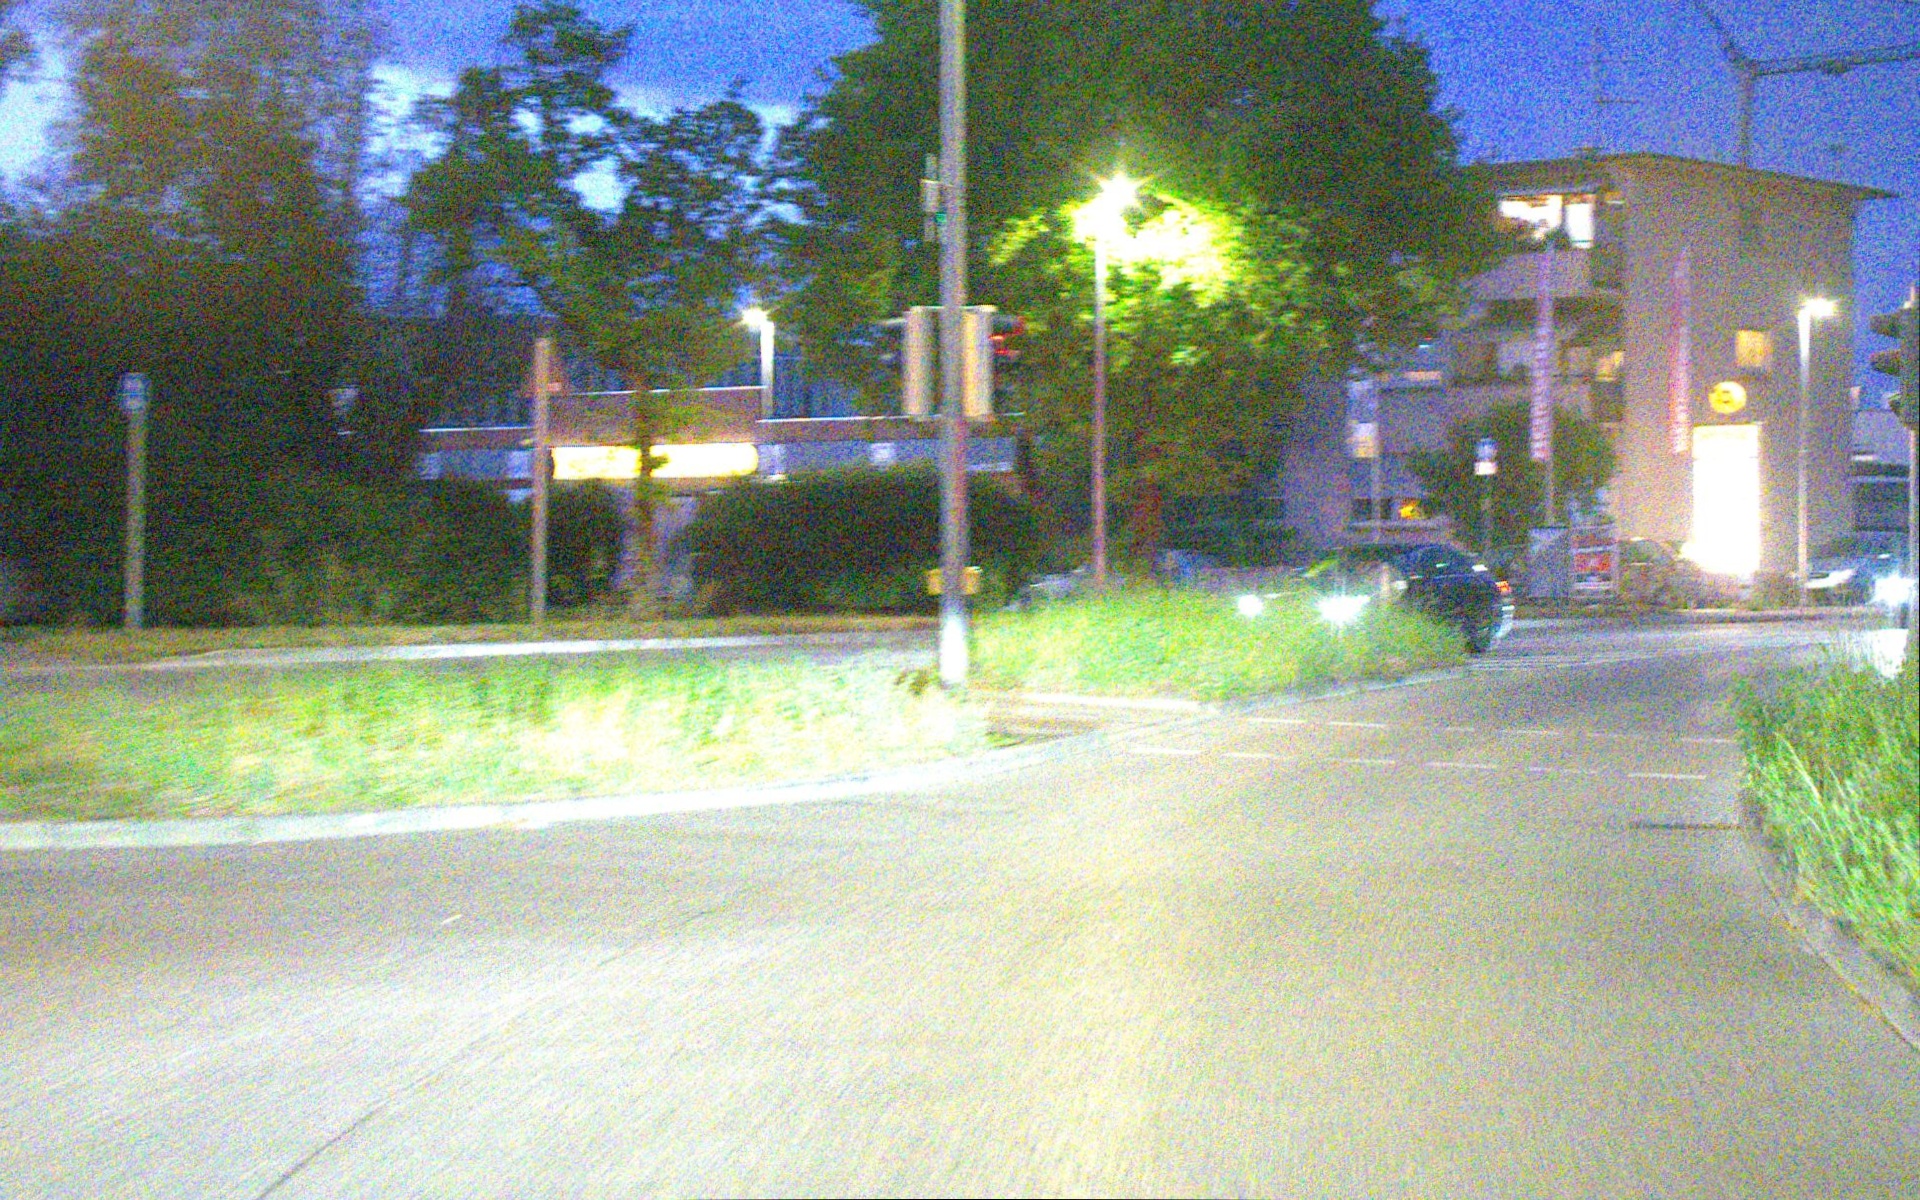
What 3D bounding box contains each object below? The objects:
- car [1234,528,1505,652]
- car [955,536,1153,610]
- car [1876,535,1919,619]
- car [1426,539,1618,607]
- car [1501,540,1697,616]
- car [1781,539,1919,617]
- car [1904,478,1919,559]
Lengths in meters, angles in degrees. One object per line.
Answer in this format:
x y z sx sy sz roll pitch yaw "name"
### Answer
5.191 -0.143 43.067 1.762 1.440 4.520 2 1 29 "car"
1.800 -0.503 66.071 3.509 1.355 1.494 -1 -1 32 "car"
17.678 -0.408 58.983 1.764 1.398 4.575 2 2 44 "car"
11.220 -0.548 68.579 3.687 1.307 1.549 0 2 -33 "car"
12.426 -0.441 66.810 3.687 1.415 1.549 -1 2 -33 "car"
19.369 -0.501 73.495 1.759 1.602 4.442 1 2 39 "car"
25.763 -2.083 87.074 1.998 2.006 3.991 4 5 40 "car"
